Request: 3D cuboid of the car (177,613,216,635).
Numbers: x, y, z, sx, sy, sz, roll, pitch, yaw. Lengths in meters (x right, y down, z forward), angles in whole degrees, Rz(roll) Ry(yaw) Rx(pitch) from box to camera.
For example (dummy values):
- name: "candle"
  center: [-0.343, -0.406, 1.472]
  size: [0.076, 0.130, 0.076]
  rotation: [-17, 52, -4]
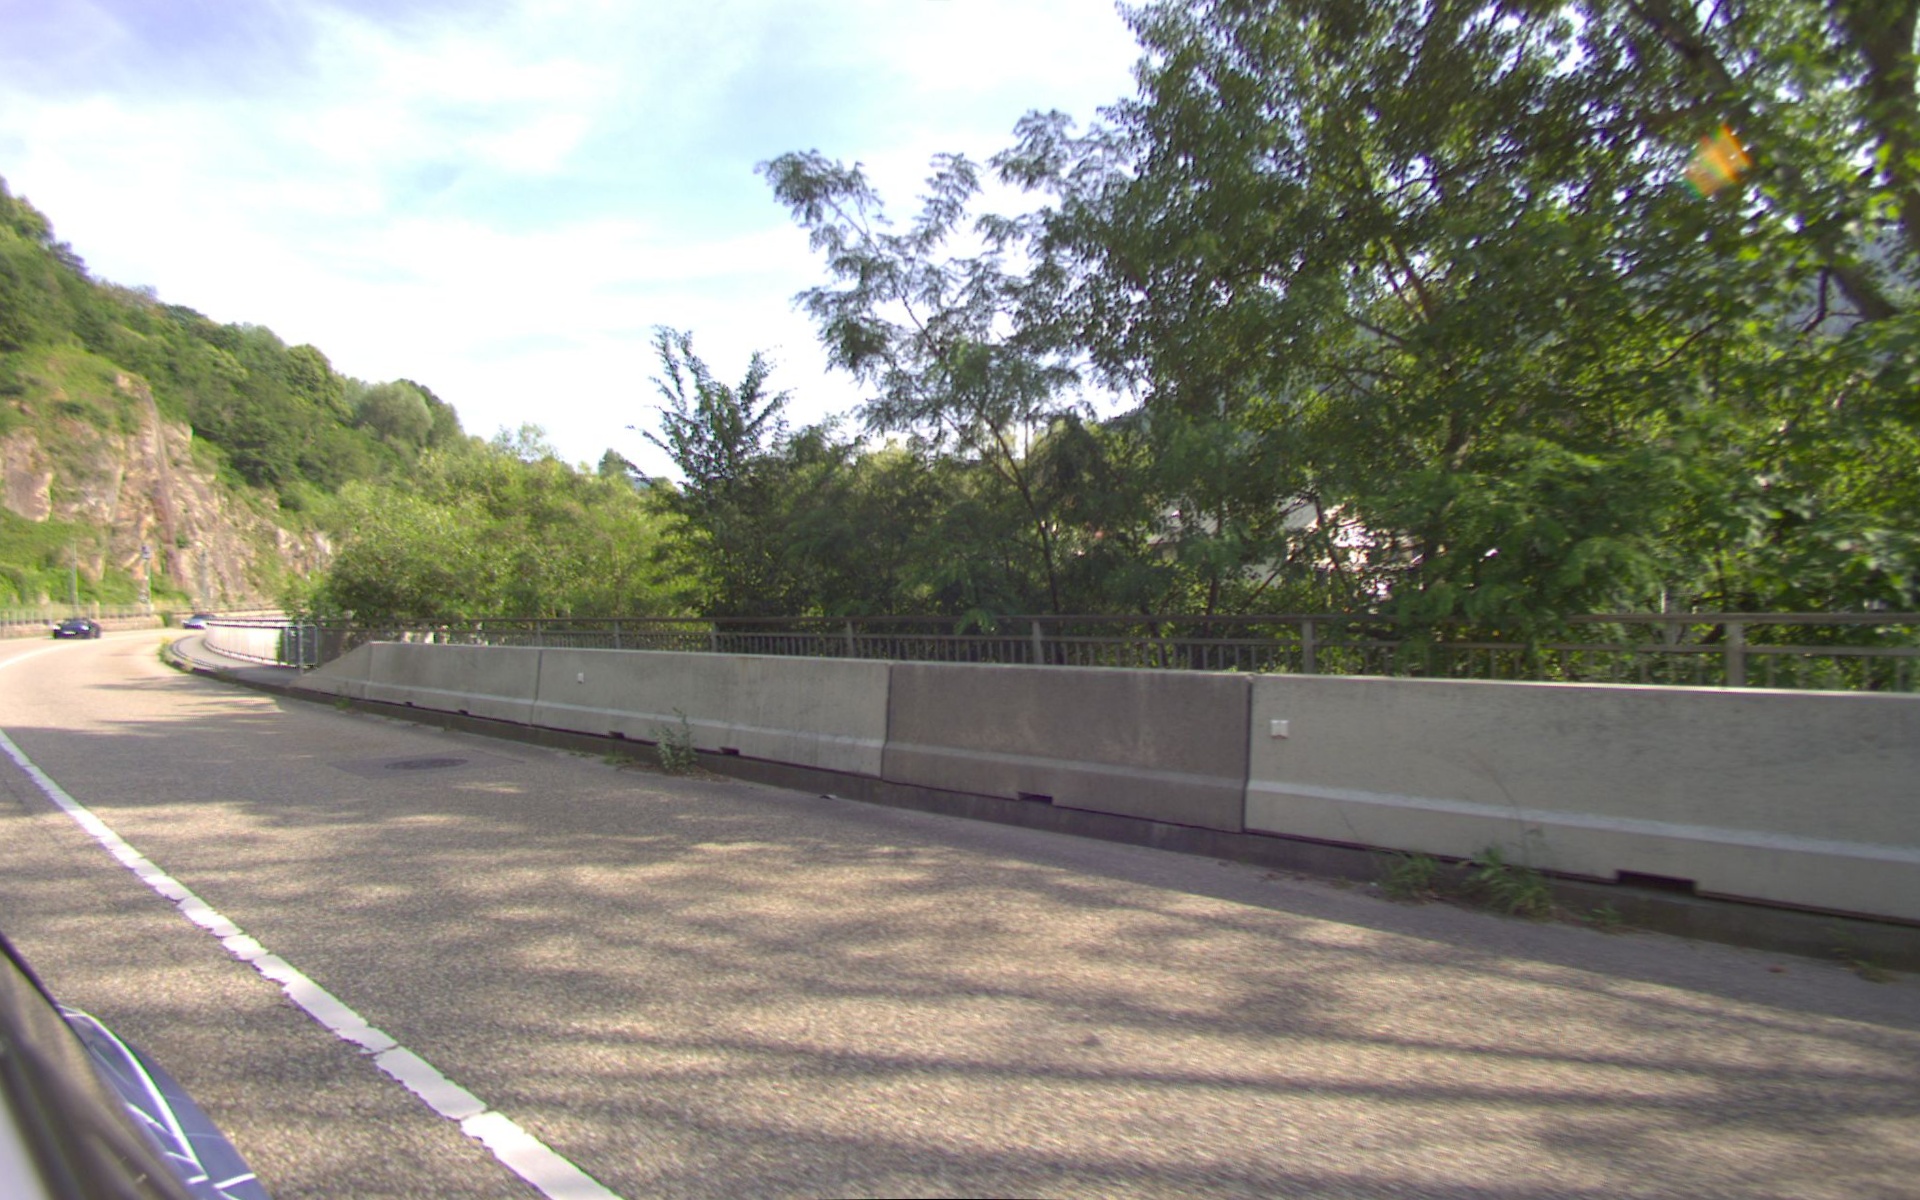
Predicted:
- name: "car"
  center: [-71.095, 2.201, 94.346]
  size: [1.965, 2.029, 4.013]
  rotation: [0, -1, -23]

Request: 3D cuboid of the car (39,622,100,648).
- name: "car"
  center: [-55.843, 2.166, 63.532]
  size: [1.965, 1.506, 4.233]
  rotation: [1, -1, -29]
